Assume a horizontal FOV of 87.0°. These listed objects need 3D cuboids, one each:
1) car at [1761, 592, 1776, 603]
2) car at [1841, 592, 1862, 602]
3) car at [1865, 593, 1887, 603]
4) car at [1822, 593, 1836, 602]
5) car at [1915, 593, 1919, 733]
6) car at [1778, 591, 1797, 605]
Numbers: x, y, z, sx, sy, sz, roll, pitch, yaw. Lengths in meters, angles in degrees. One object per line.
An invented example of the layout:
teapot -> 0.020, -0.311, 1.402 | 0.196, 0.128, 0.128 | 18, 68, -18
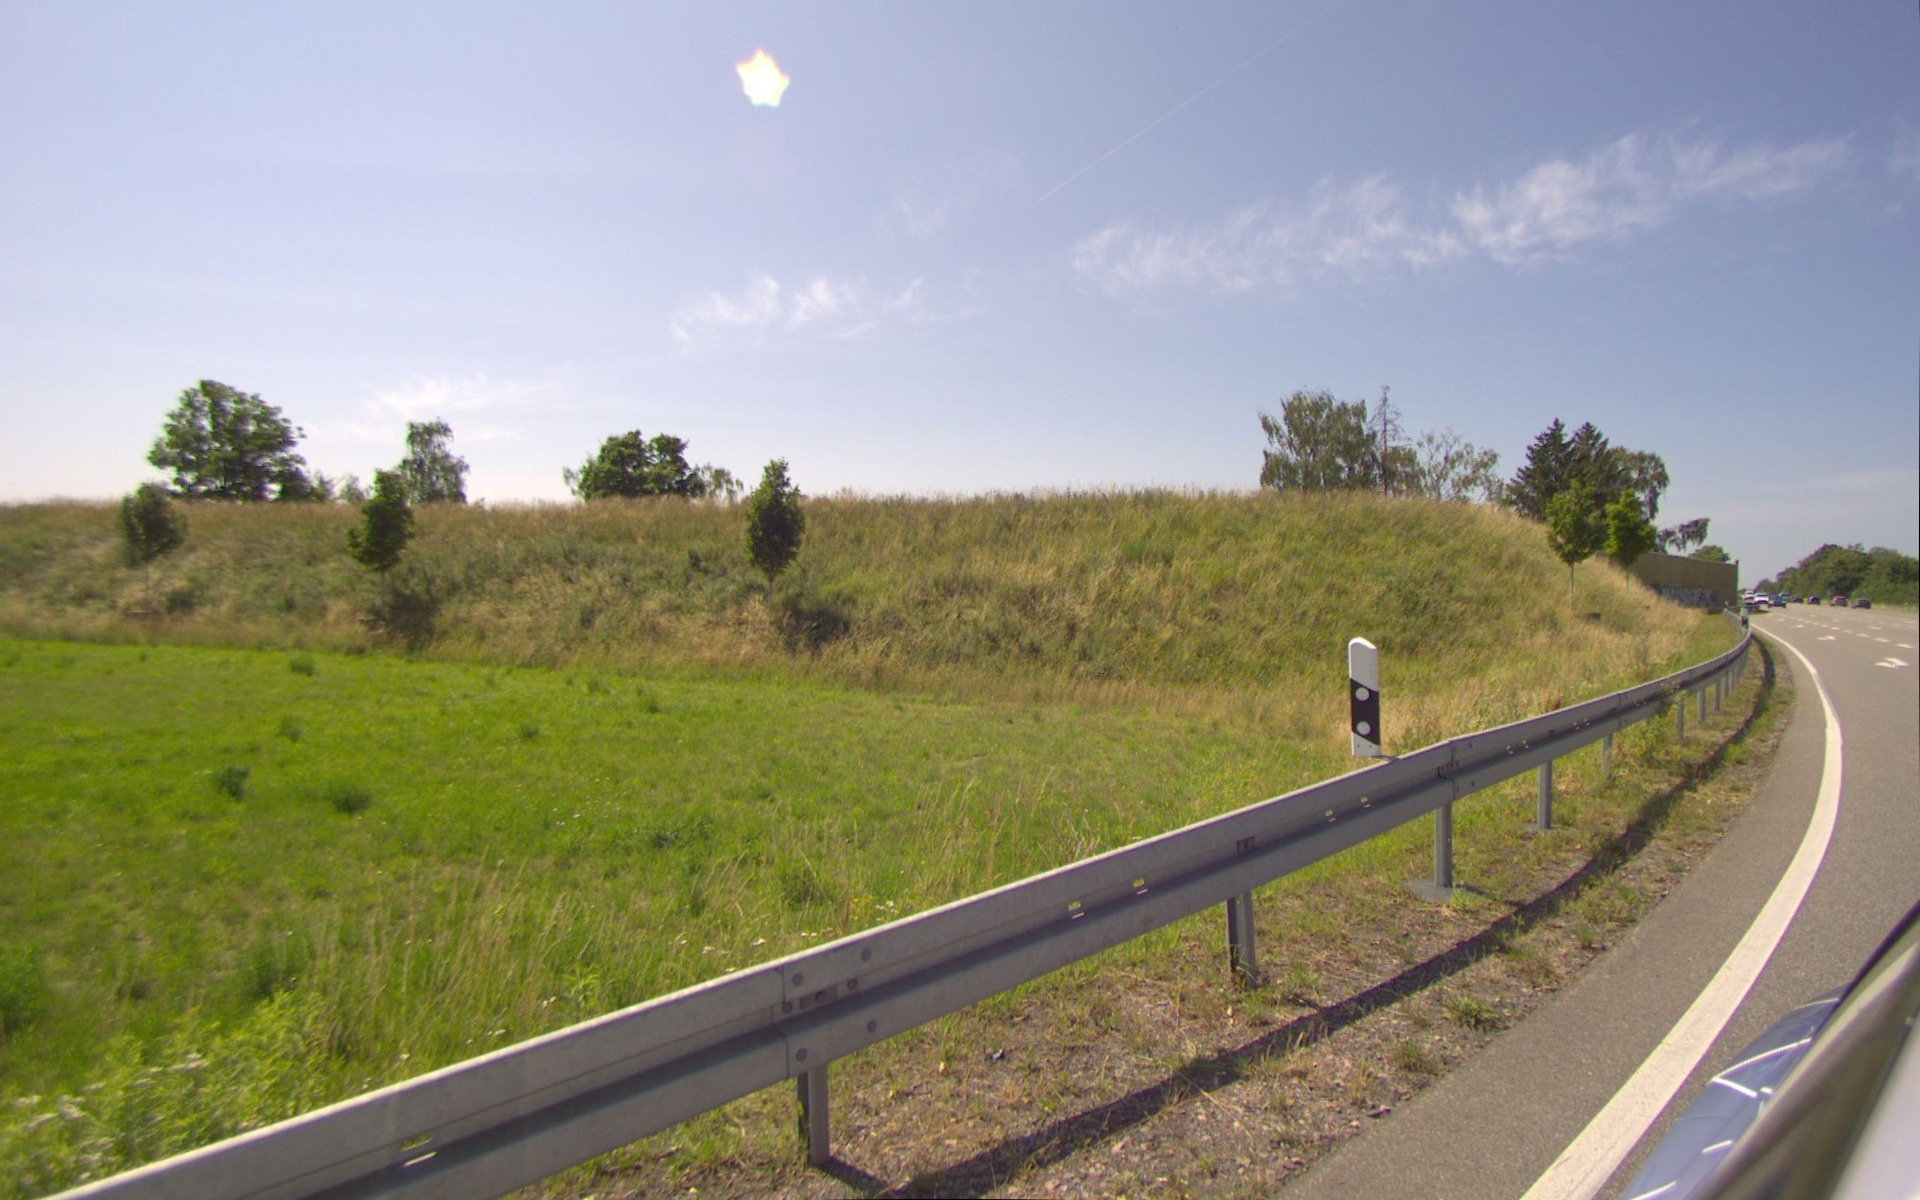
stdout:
car -> 133.458, -0.426, 167.137 | 1.792, 1.705, 3.947 | -1, 1, 37
car -> 147.250, -0.520, 167.189 | 2.022, 1.660, 4.511 | 2, 2, 36
car -> 131.898, -0.295, 145.714 | 1.873, 1.415, 4.472 | 0, 1, 37
car -> 156.794, -0.484, 182.657 | 1.640, 1.506, 3.512 | 0, 0, 36
car -> 9.623, 0.685, 8.417 | 1.884, 1.465, 4.467 | 0, 1, 36
car -> 109.007, -0.232, 133.333 | 1.793, 1.705, 3.945 | -1, 1, 38
